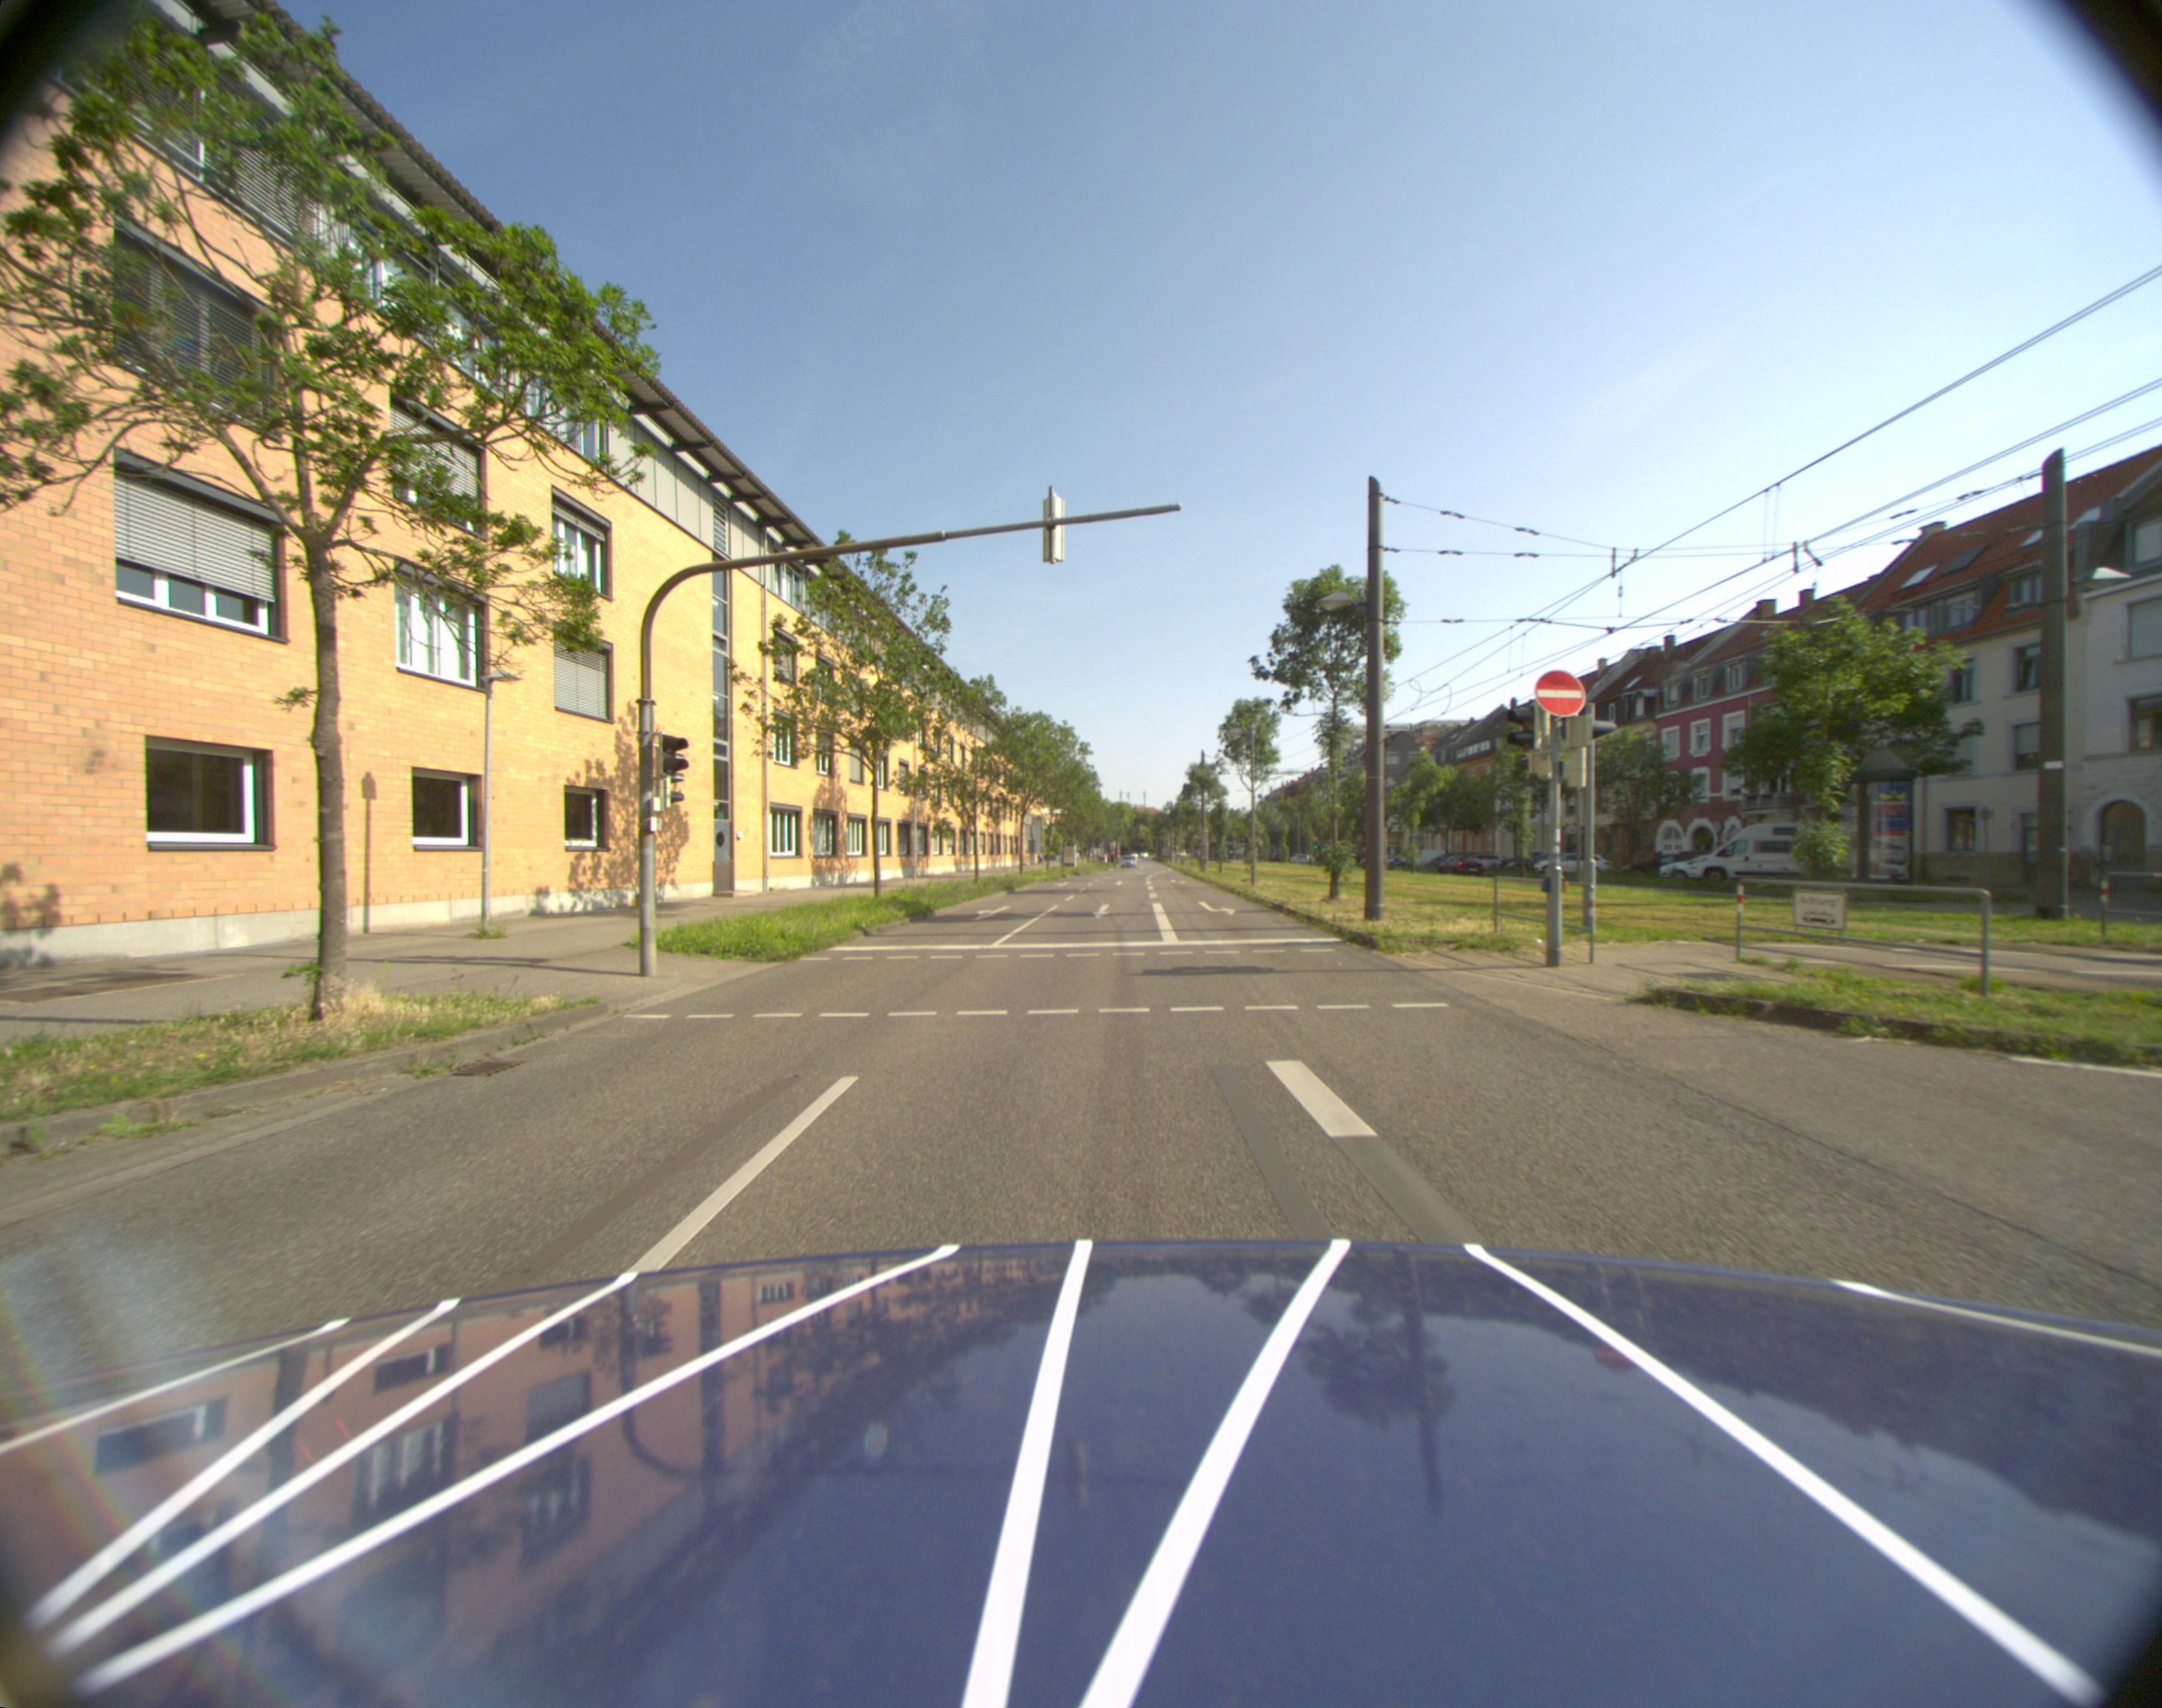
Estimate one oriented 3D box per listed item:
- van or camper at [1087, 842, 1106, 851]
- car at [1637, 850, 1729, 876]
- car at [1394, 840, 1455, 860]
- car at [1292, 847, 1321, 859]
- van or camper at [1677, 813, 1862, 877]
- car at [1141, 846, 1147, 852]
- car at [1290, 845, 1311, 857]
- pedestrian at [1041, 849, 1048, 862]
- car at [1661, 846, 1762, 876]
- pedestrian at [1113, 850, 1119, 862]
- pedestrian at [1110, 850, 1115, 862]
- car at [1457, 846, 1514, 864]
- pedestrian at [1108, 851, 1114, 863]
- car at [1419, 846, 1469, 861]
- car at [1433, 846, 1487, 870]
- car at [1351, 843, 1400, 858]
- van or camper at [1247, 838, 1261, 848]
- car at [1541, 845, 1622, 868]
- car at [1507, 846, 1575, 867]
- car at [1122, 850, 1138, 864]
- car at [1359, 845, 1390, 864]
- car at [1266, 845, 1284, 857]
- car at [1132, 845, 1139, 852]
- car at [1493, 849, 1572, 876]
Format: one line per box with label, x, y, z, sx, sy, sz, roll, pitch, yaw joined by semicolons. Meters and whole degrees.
van or camper;4.775;-2.328;234.880;5.799;2.678;2.408;-2;1;1
car;31.306;0.469;39.549;3.676;1.234;1.665;-2;1;40
car;33.096;-0.339;73.301;4.938;1.716;1.860;-2;1;39
car;36.776;-0.172;123.787;3.989;1.716;2.004;-2;1;39
van or camper;30.318;-0.348;33.801;5.910;2.559;2.203;-2;1;39
car;17.192;-1.370;207.762;1.692;1.476;3.366;-3;1;3
car;29.946;-0.422;103.780;1.951;1.451;4.650;-2;1;7
pedestrian;-4.633;0.142;96.420;0.697;1.647;0.773;1;1;5
car;30.591;0.339;36.986;3.676;1.324;1.665;-2;1;39
pedestrian;4.825;0.281;104.860;0.707;1.637;0.689;1;1;2
pedestrian;4.353;0.275;106.159;0.636;1.637;0.609;1;1;1
car;31.895;0.067;59.980;3.676;1.234;1.665;-2;1;39
pedestrian;4.260;0.376;107.794;0.707;1.637;0.689;1;1;2
car;32.000;-0.006;67.034;3.676;1.234;1.529;-2;-1;38
car;25.564;0.251;51.397;1.816;1.425;3.926;-3;1;4
car;33.578;-0.440;86.593;4.765;1.477;2.027;-2;1;36
van or camper;38.275;-2.484;168.250;1.956;2.085;5.353;-2;1;4
car;30.836;0.167;46.897;4.003;1.309;1.665;-2;1;39
car;30.485;0.158;50.356;3.677;1.234;1.665;-2;1;37
car;5.520;0.330;85.606;1.628;1.476;3.366;-3;1;3
car;27.313;0.046;70.792;1.768;1.646;4.001;-2;1;7
car;30.616;-0.493;120.147;1.998;1.621;5.381;-2;1;6
car;13.797;-1.387;192.795;1.692;1.476;3.366;-3;1;3
car;31.571;0.615;53.269;4.636;1.733;1.837;-2;1;29
